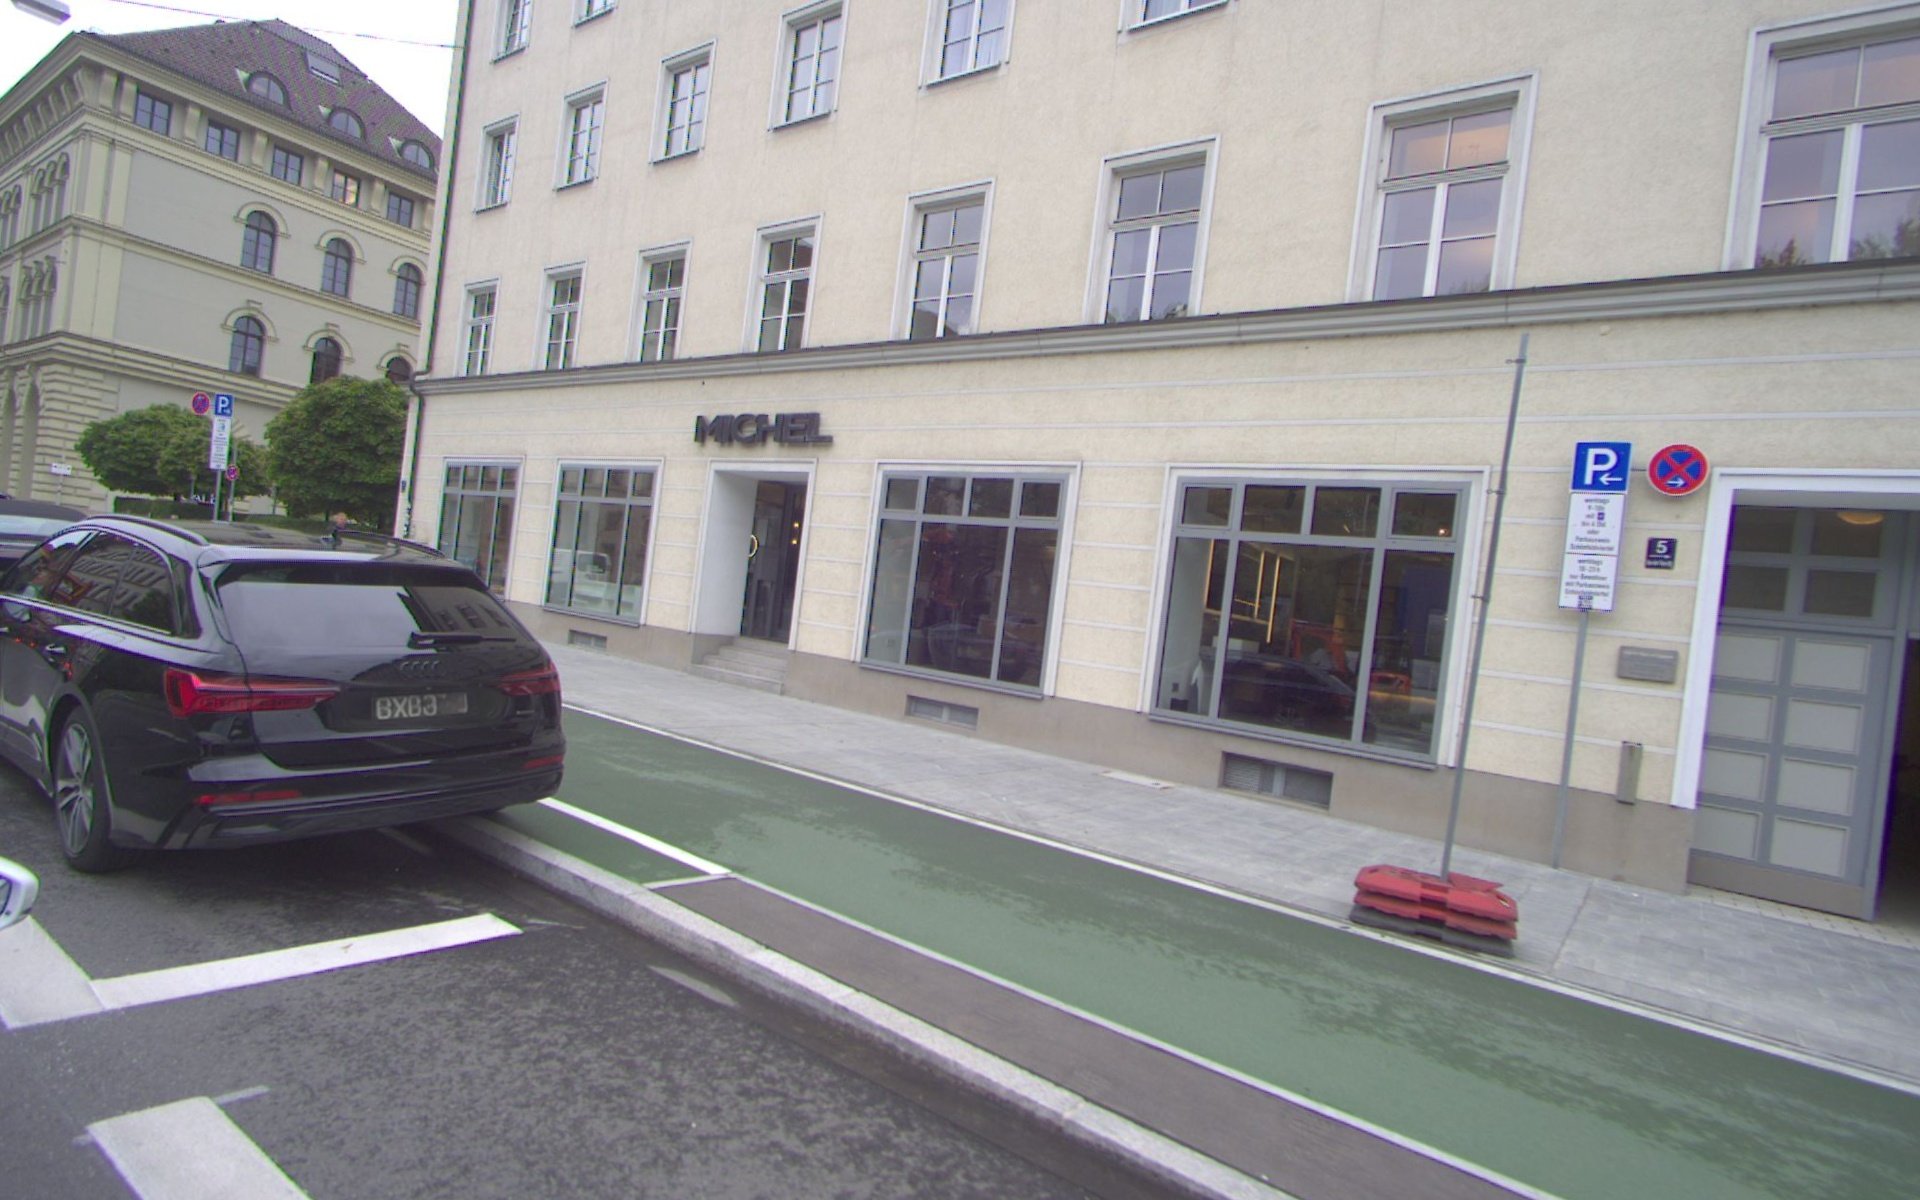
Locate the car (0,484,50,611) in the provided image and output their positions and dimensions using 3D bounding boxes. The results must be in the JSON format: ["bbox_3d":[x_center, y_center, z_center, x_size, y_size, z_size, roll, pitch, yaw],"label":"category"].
[{"bbox_3d":[-13.259,-0.841,12.924,3.372,1.514,1.610,7,0,37],"label":"car"}]

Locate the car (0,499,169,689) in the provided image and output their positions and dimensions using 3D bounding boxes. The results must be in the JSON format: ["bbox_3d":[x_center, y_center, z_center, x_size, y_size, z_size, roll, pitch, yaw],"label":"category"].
[{"bbox_3d":[-9.050,-0.236,9.198,4.358,1.402,1.681,7,-1,37],"label":"car"}]

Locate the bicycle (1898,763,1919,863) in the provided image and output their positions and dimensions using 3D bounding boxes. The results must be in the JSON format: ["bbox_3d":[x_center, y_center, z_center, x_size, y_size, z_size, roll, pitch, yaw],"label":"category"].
[{"bbox_3d":[10.916,2.421,11.175,0.301,1.068,1.624,7,0,31],"label":"bicycle"}]

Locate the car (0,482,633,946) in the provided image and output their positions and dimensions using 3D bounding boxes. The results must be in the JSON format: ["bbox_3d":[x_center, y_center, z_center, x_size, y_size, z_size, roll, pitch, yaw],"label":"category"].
[{"bbox_3d":[-4.047,0.294,5.474,4.614,1.497,1.804,7,-2,36],"label":"car"}]

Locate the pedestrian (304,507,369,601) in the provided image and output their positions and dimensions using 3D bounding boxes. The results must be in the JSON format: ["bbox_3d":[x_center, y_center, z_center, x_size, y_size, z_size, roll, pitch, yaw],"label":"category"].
[{"bbox_3d":[-13.250,-0.978,21.374,0.765,1.859,0.790,8,1,38],"label":"pedestrian"}]
